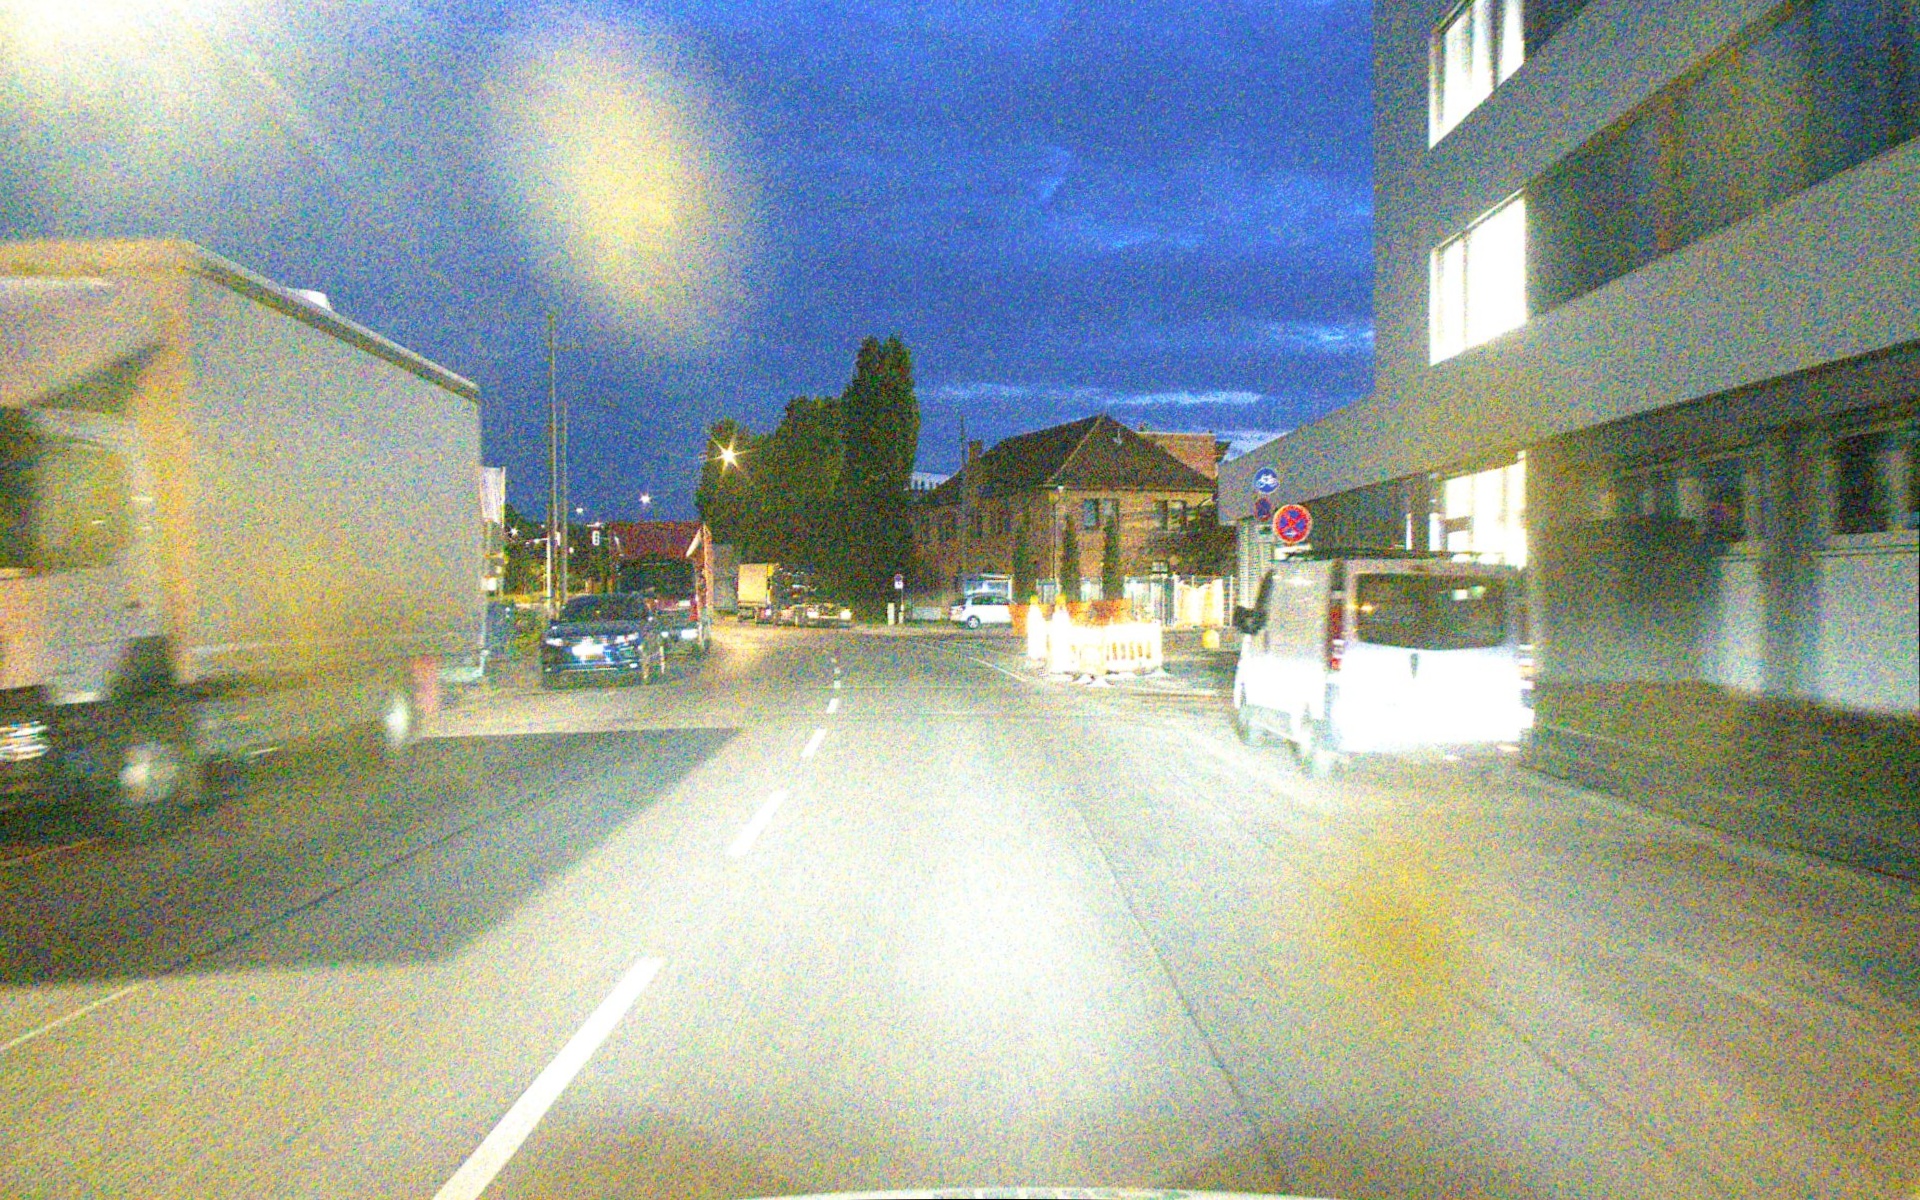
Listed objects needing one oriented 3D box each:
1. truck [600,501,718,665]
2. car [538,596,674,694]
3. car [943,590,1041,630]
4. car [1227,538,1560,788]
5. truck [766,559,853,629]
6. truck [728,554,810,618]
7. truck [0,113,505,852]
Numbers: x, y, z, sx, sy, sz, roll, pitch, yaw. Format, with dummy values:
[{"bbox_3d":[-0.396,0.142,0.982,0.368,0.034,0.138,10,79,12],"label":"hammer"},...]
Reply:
[{"bbox_3d":[-8.398,-0.456,47.105,2.720,4.192,9.326,-1,0,-7],"label":"truck"},{"bbox_3d":[-6.855,0.806,32.518,1.905,1.747,5.193,-1,0,-4],"label":"car"},{"bbox_3d":[1.523,0.462,78.659,4.267,1.675,1.879,-3,1,-22],"label":"car"},{"bbox_3d":[4.005,0.517,16.233,1.953,2.049,4.911,-1,0,0],"label":"car"},{"bbox_3d":[-8.784,-0.330,95.448,2.715,3.849,9.081,-1,0,-21],"label":"truck"},{"bbox_3d":[-12.219,-0.854,105.097,2.716,3.849,10.160,-1,0,-21],"label":"truck"},{"bbox_3d":[-6.350,-0.661,13.928,2.691,4.104,9.556,0,0,-2],"label":"truck"}]
